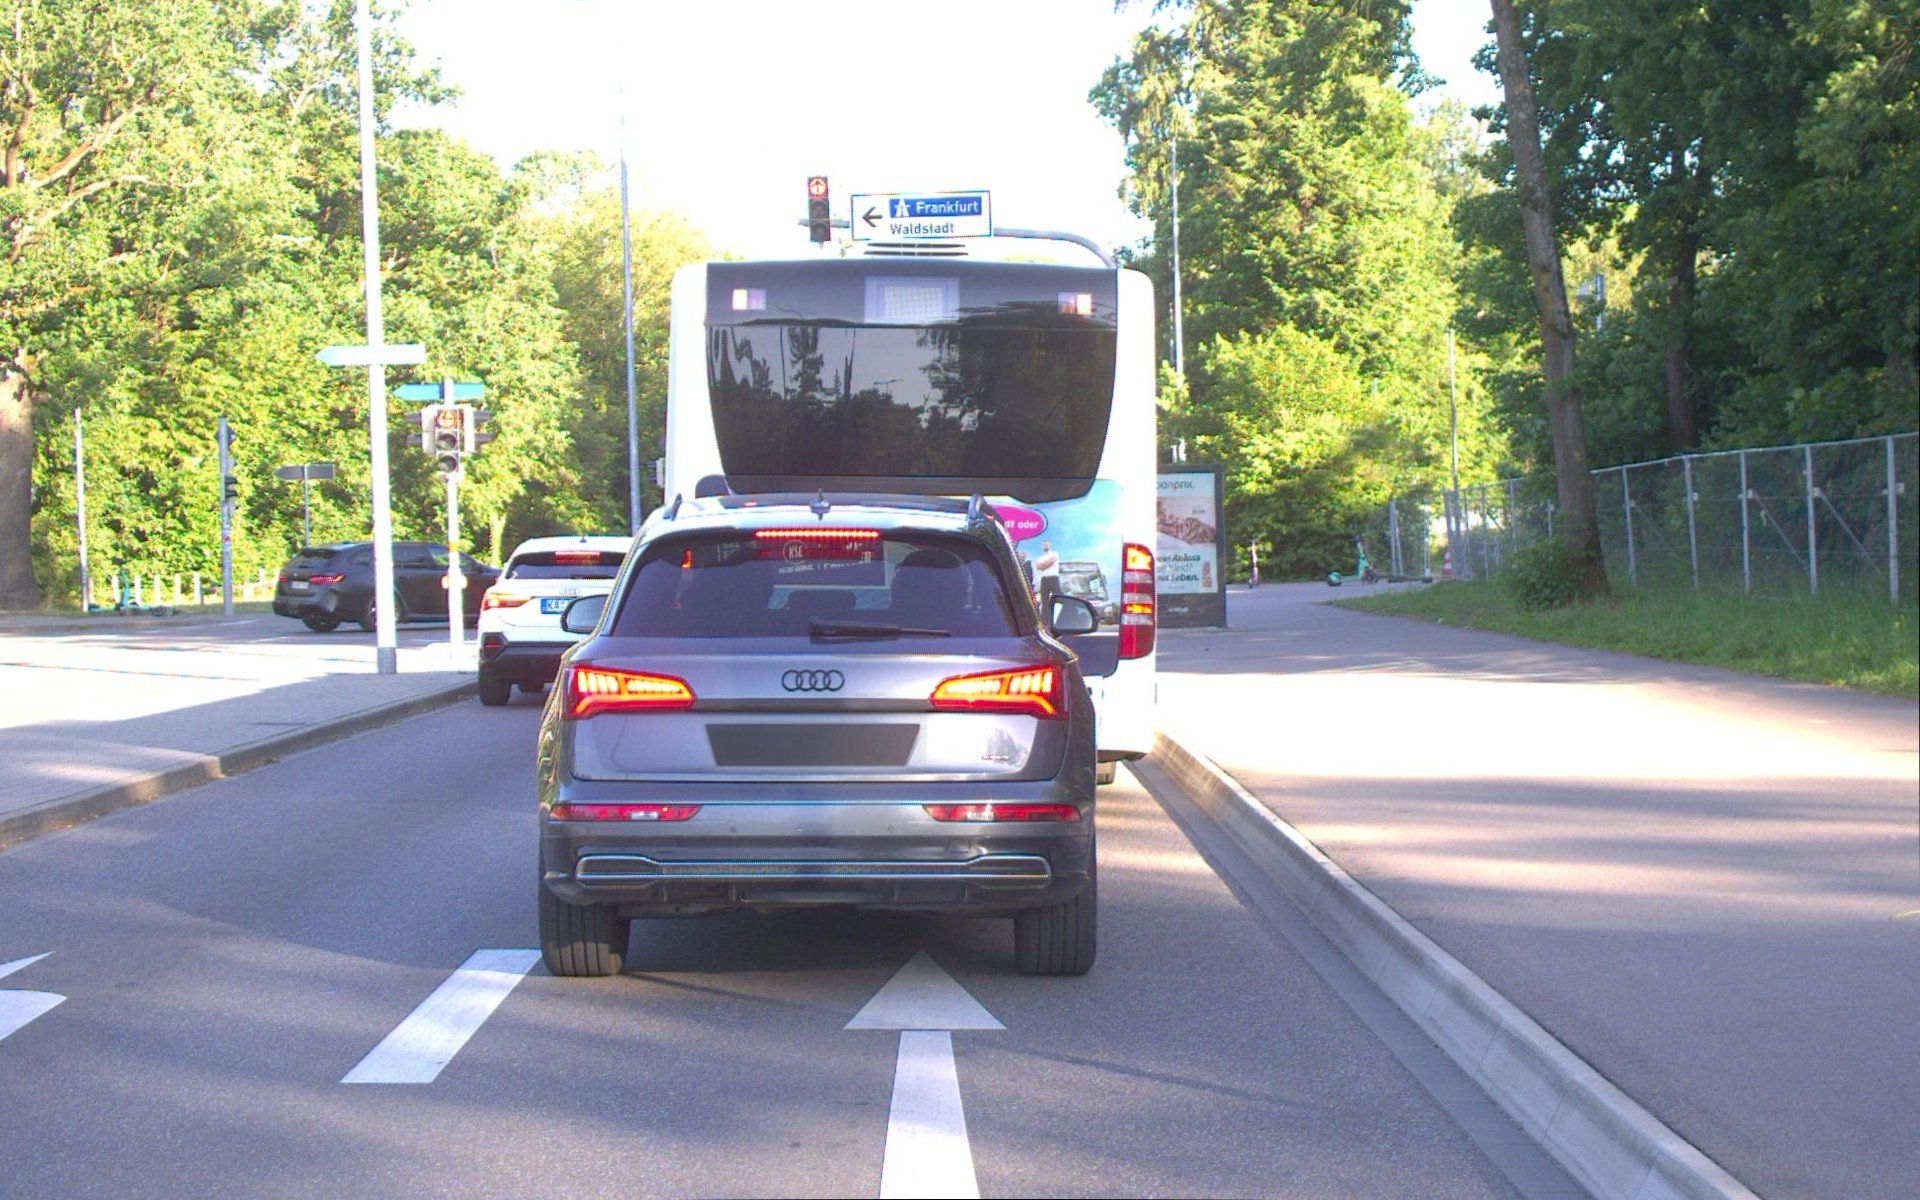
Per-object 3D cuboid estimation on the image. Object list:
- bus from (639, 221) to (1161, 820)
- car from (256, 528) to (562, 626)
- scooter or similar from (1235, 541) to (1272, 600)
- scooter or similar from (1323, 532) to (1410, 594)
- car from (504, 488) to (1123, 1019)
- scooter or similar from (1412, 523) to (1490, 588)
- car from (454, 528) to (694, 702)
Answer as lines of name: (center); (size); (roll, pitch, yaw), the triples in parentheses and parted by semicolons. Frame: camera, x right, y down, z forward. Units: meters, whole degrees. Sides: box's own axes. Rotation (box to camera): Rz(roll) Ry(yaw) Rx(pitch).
bus: (-0.350, -0.443, 21.802); (2.594, 2.978, 9.327); (0, 1, -1)
car: (-9.341, -0.402, 58.487); (4.776, 1.493, 1.999); (-3, 1, -42)
scooter or similar: (7.301, -0.751, 85.621); (0.508, 1.439, 2.023); (-2, 1, -6)
scooter or similar: (9.814, -0.895, 83.023); (2.015, 1.439, 0.606); (-2, 1, -25)
car: (-0.473, 0.436, 12.604); (1.898, 1.626, 4.000); (0, 1, -1)
scooter or similar: (12.034, -1.087, 84.309); (0.539, 1.562, 2.022); (-3, 1, -40)
car: (-3.575, 0.092, 32.464); (1.836, 1.513, 4.000); (-1, 1, -1)
